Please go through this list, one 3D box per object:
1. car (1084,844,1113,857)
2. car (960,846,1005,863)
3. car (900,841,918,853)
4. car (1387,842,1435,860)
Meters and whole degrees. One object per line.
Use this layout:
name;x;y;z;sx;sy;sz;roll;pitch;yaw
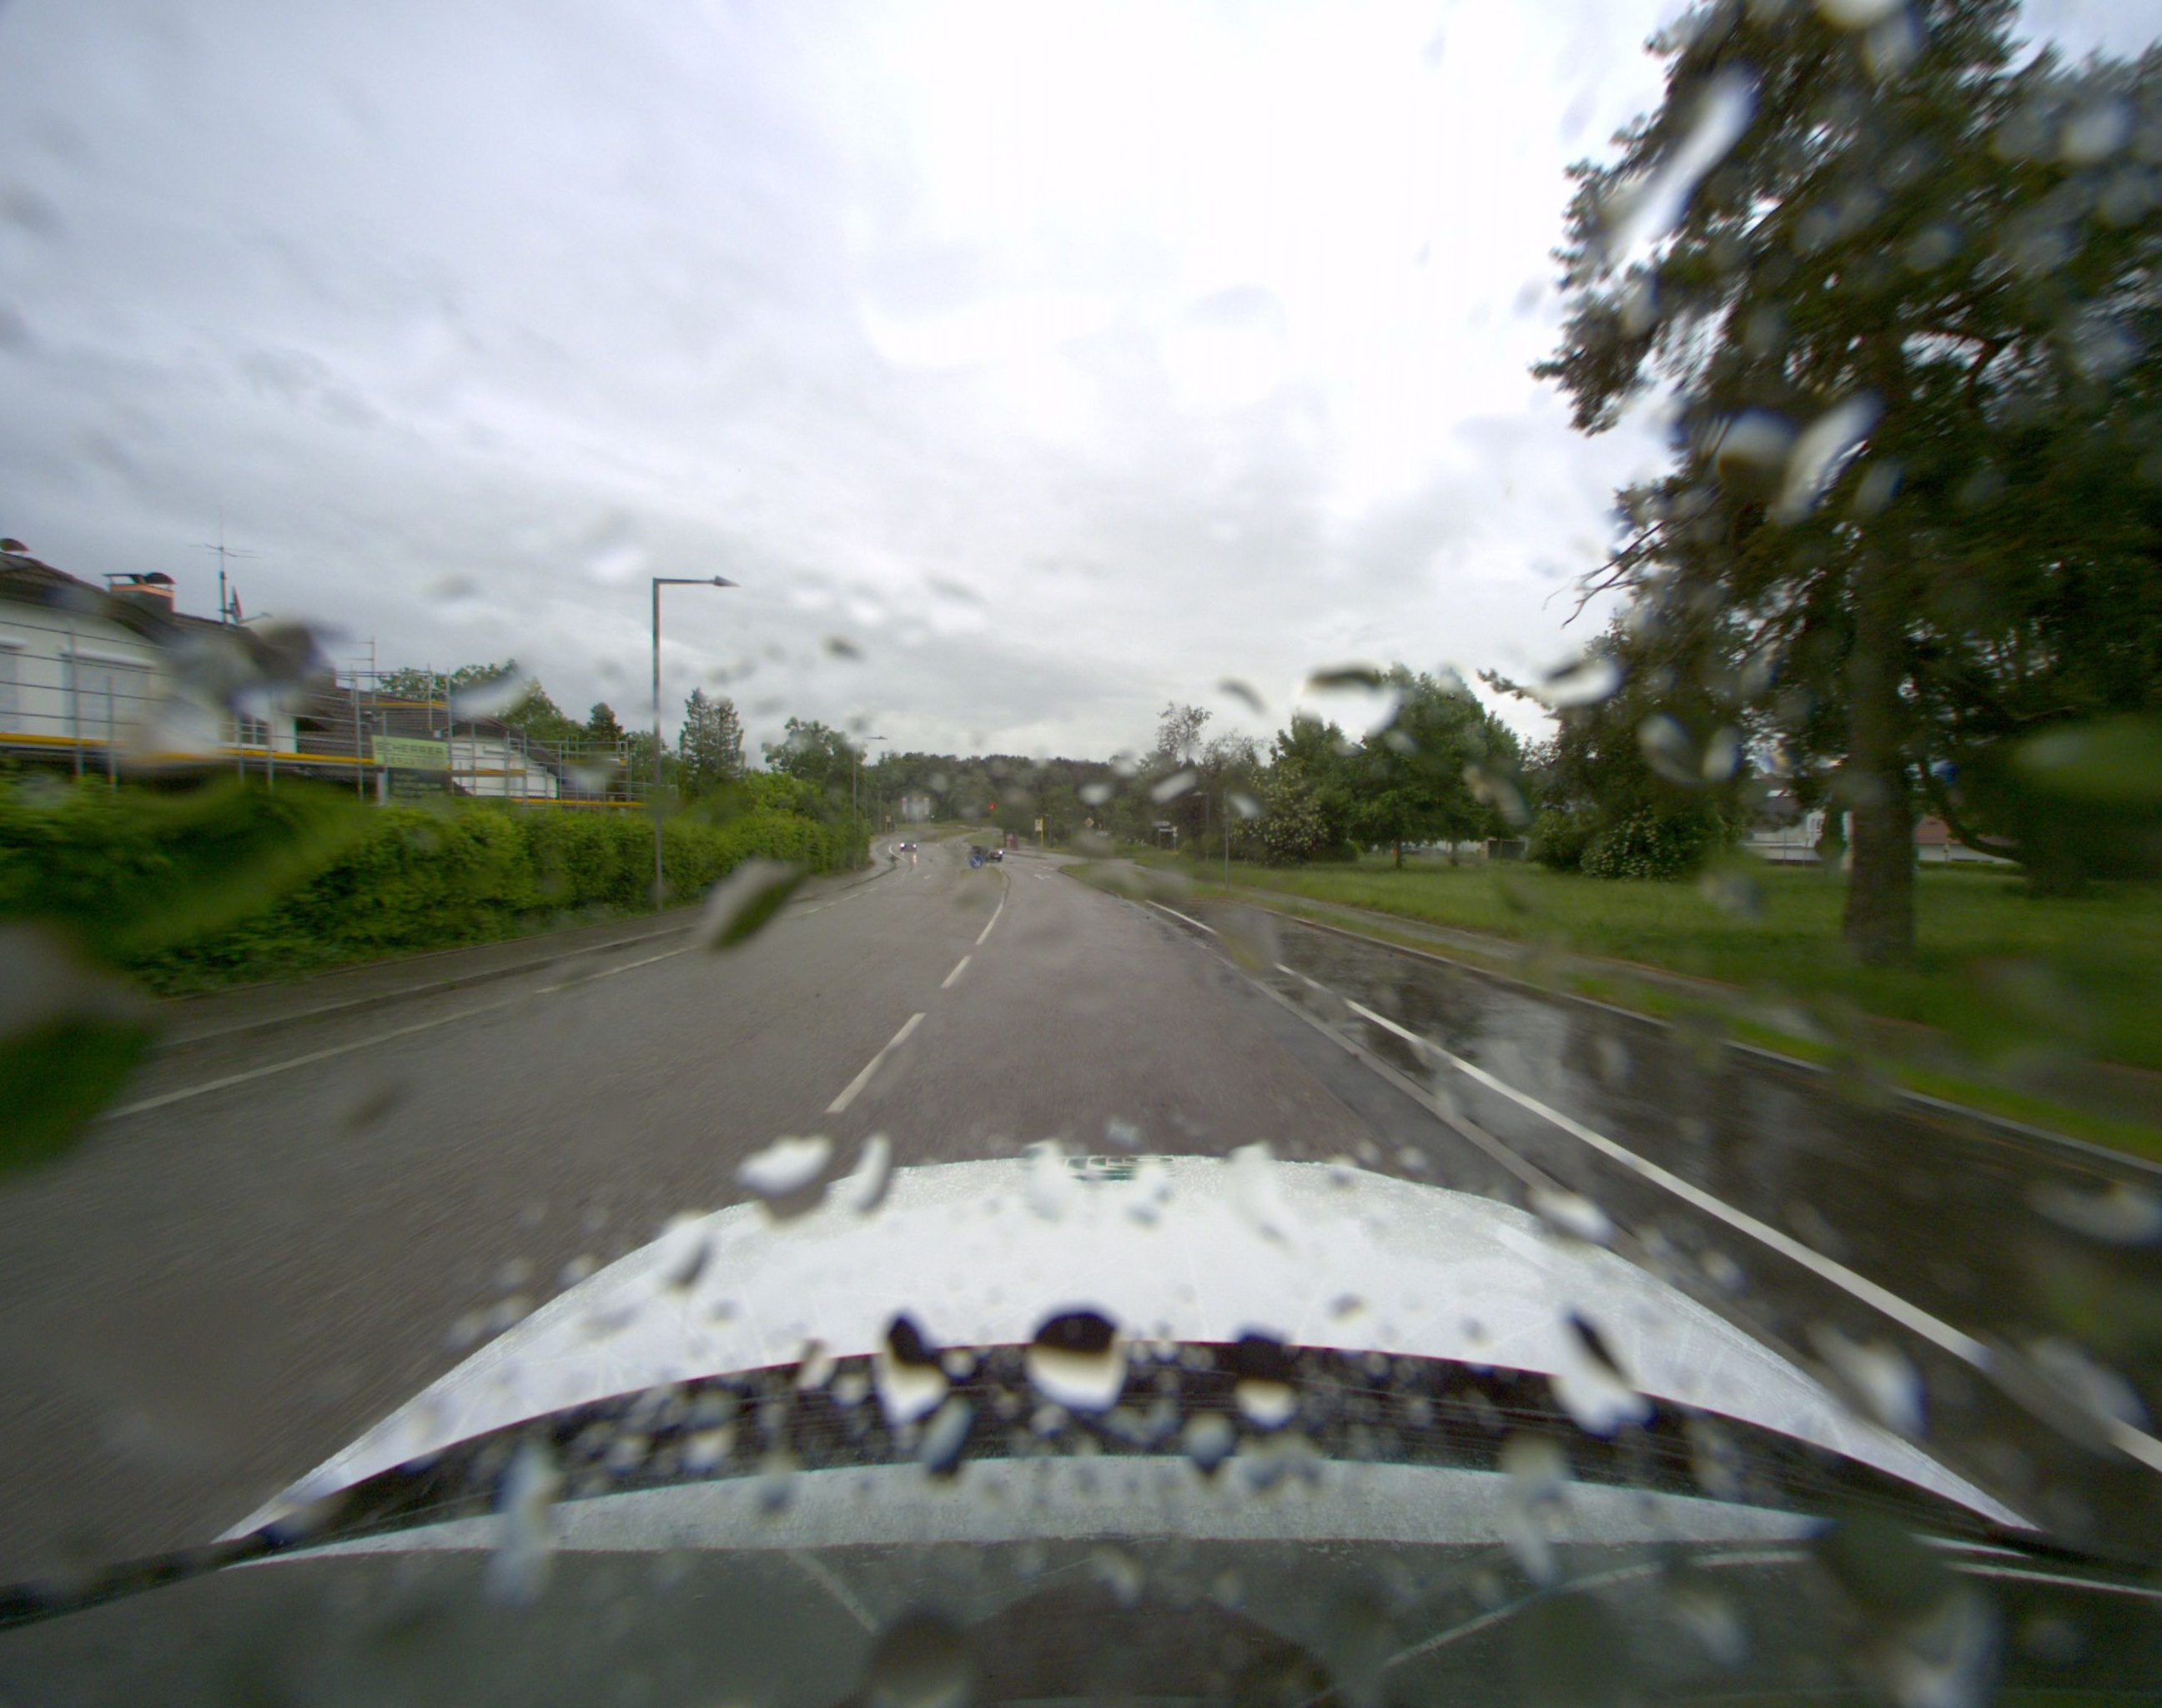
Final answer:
car;2.326;-0.455;108.796;3.379;1.690;2.012;-1;-3;36
car;-8.468;0.035;69.855;3.491;1.355;1.468;3;1;24
car;-20.543;-0.847;97.028;1.970;1.414;4.395;-2;1;-14
car;36.997;-0.329;91.353;1.923;1.750;4.504;-2;-1;-41
